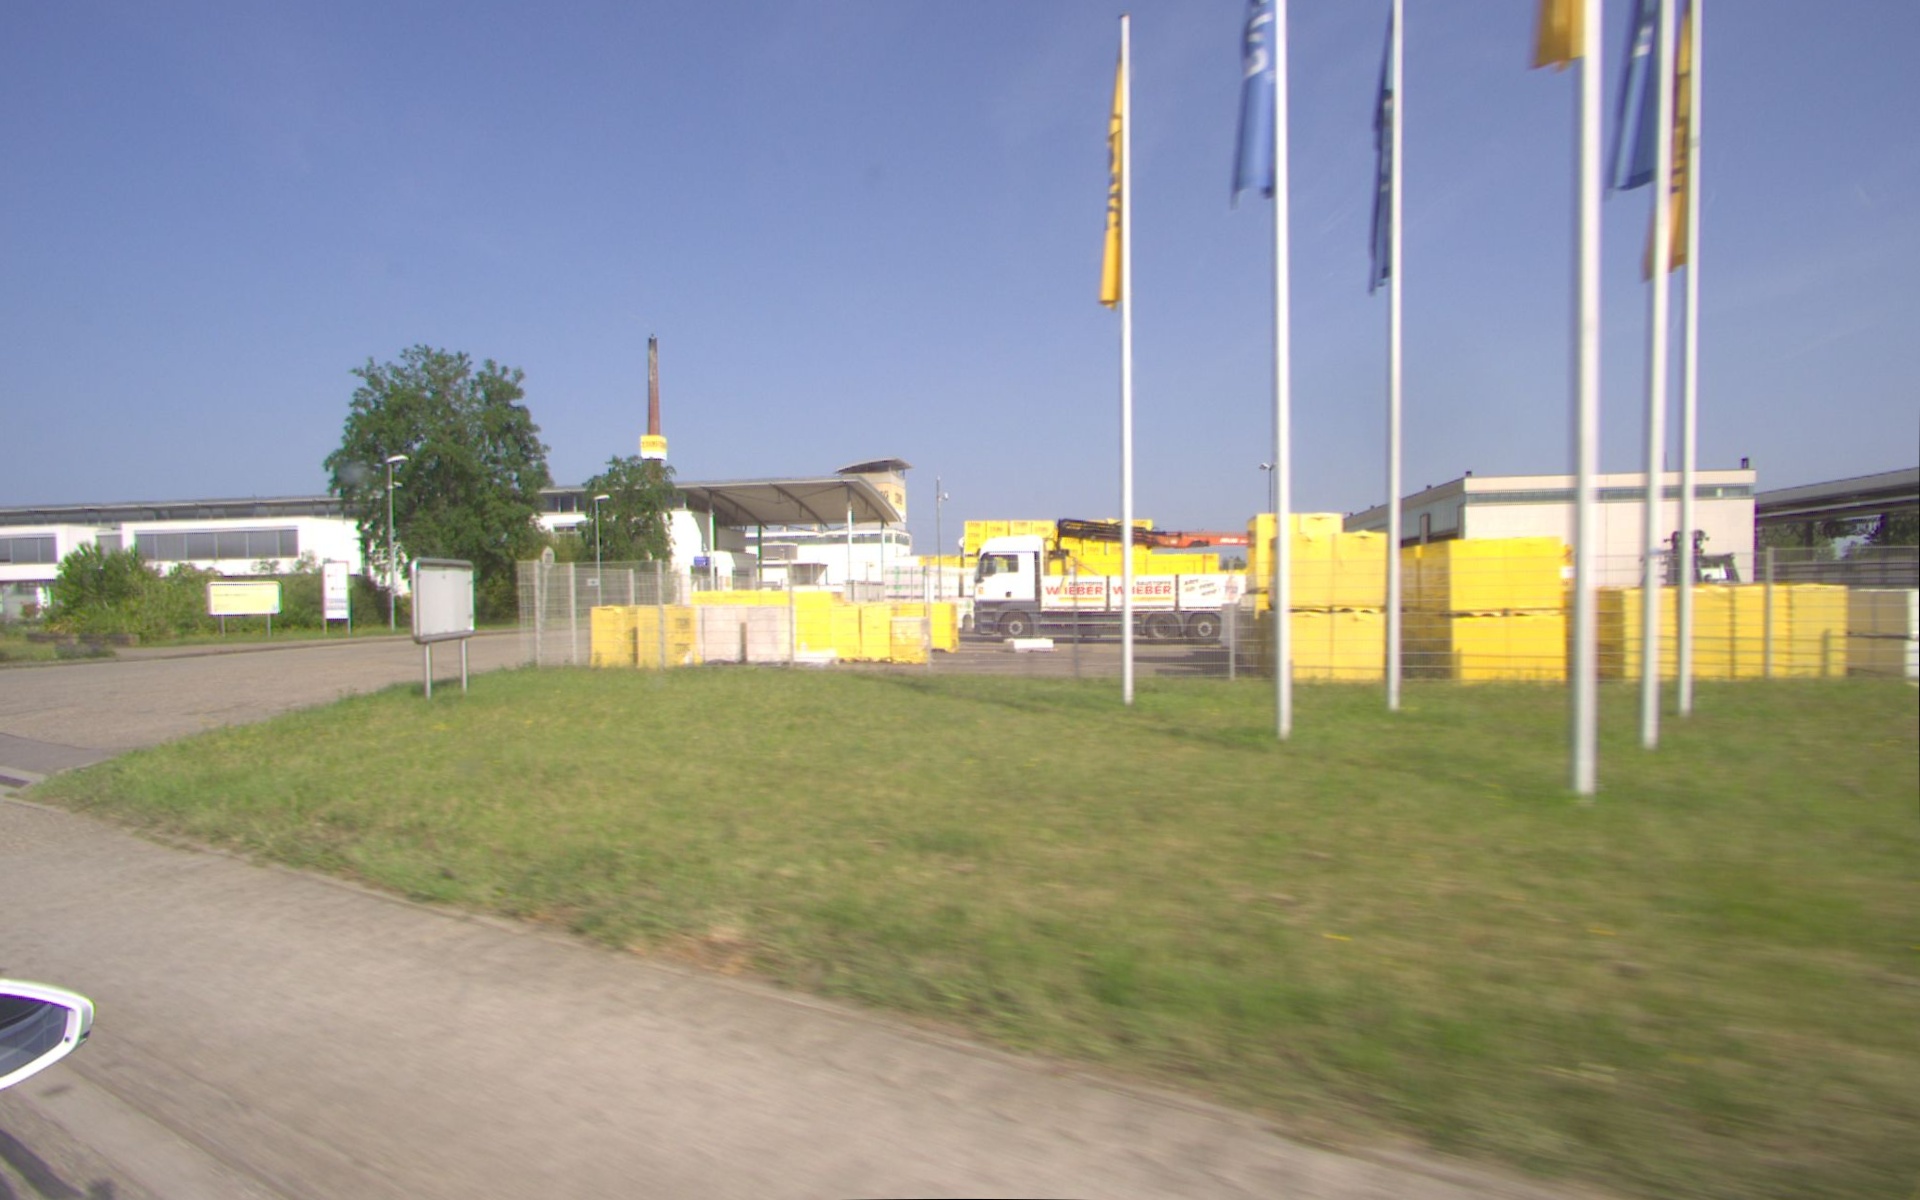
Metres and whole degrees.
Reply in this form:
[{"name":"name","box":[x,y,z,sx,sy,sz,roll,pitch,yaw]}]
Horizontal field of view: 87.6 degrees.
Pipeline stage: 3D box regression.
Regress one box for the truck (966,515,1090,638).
[{"name":"truck","box":[2.352,-0.718,33.820,3.924,3.925,2.545,-1,-1,10]}]

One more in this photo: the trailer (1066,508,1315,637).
[{"name":"trailer","box":[7.425,-0.798,32.915,7.652,3.925,2.485,-1,-1,10]}]
